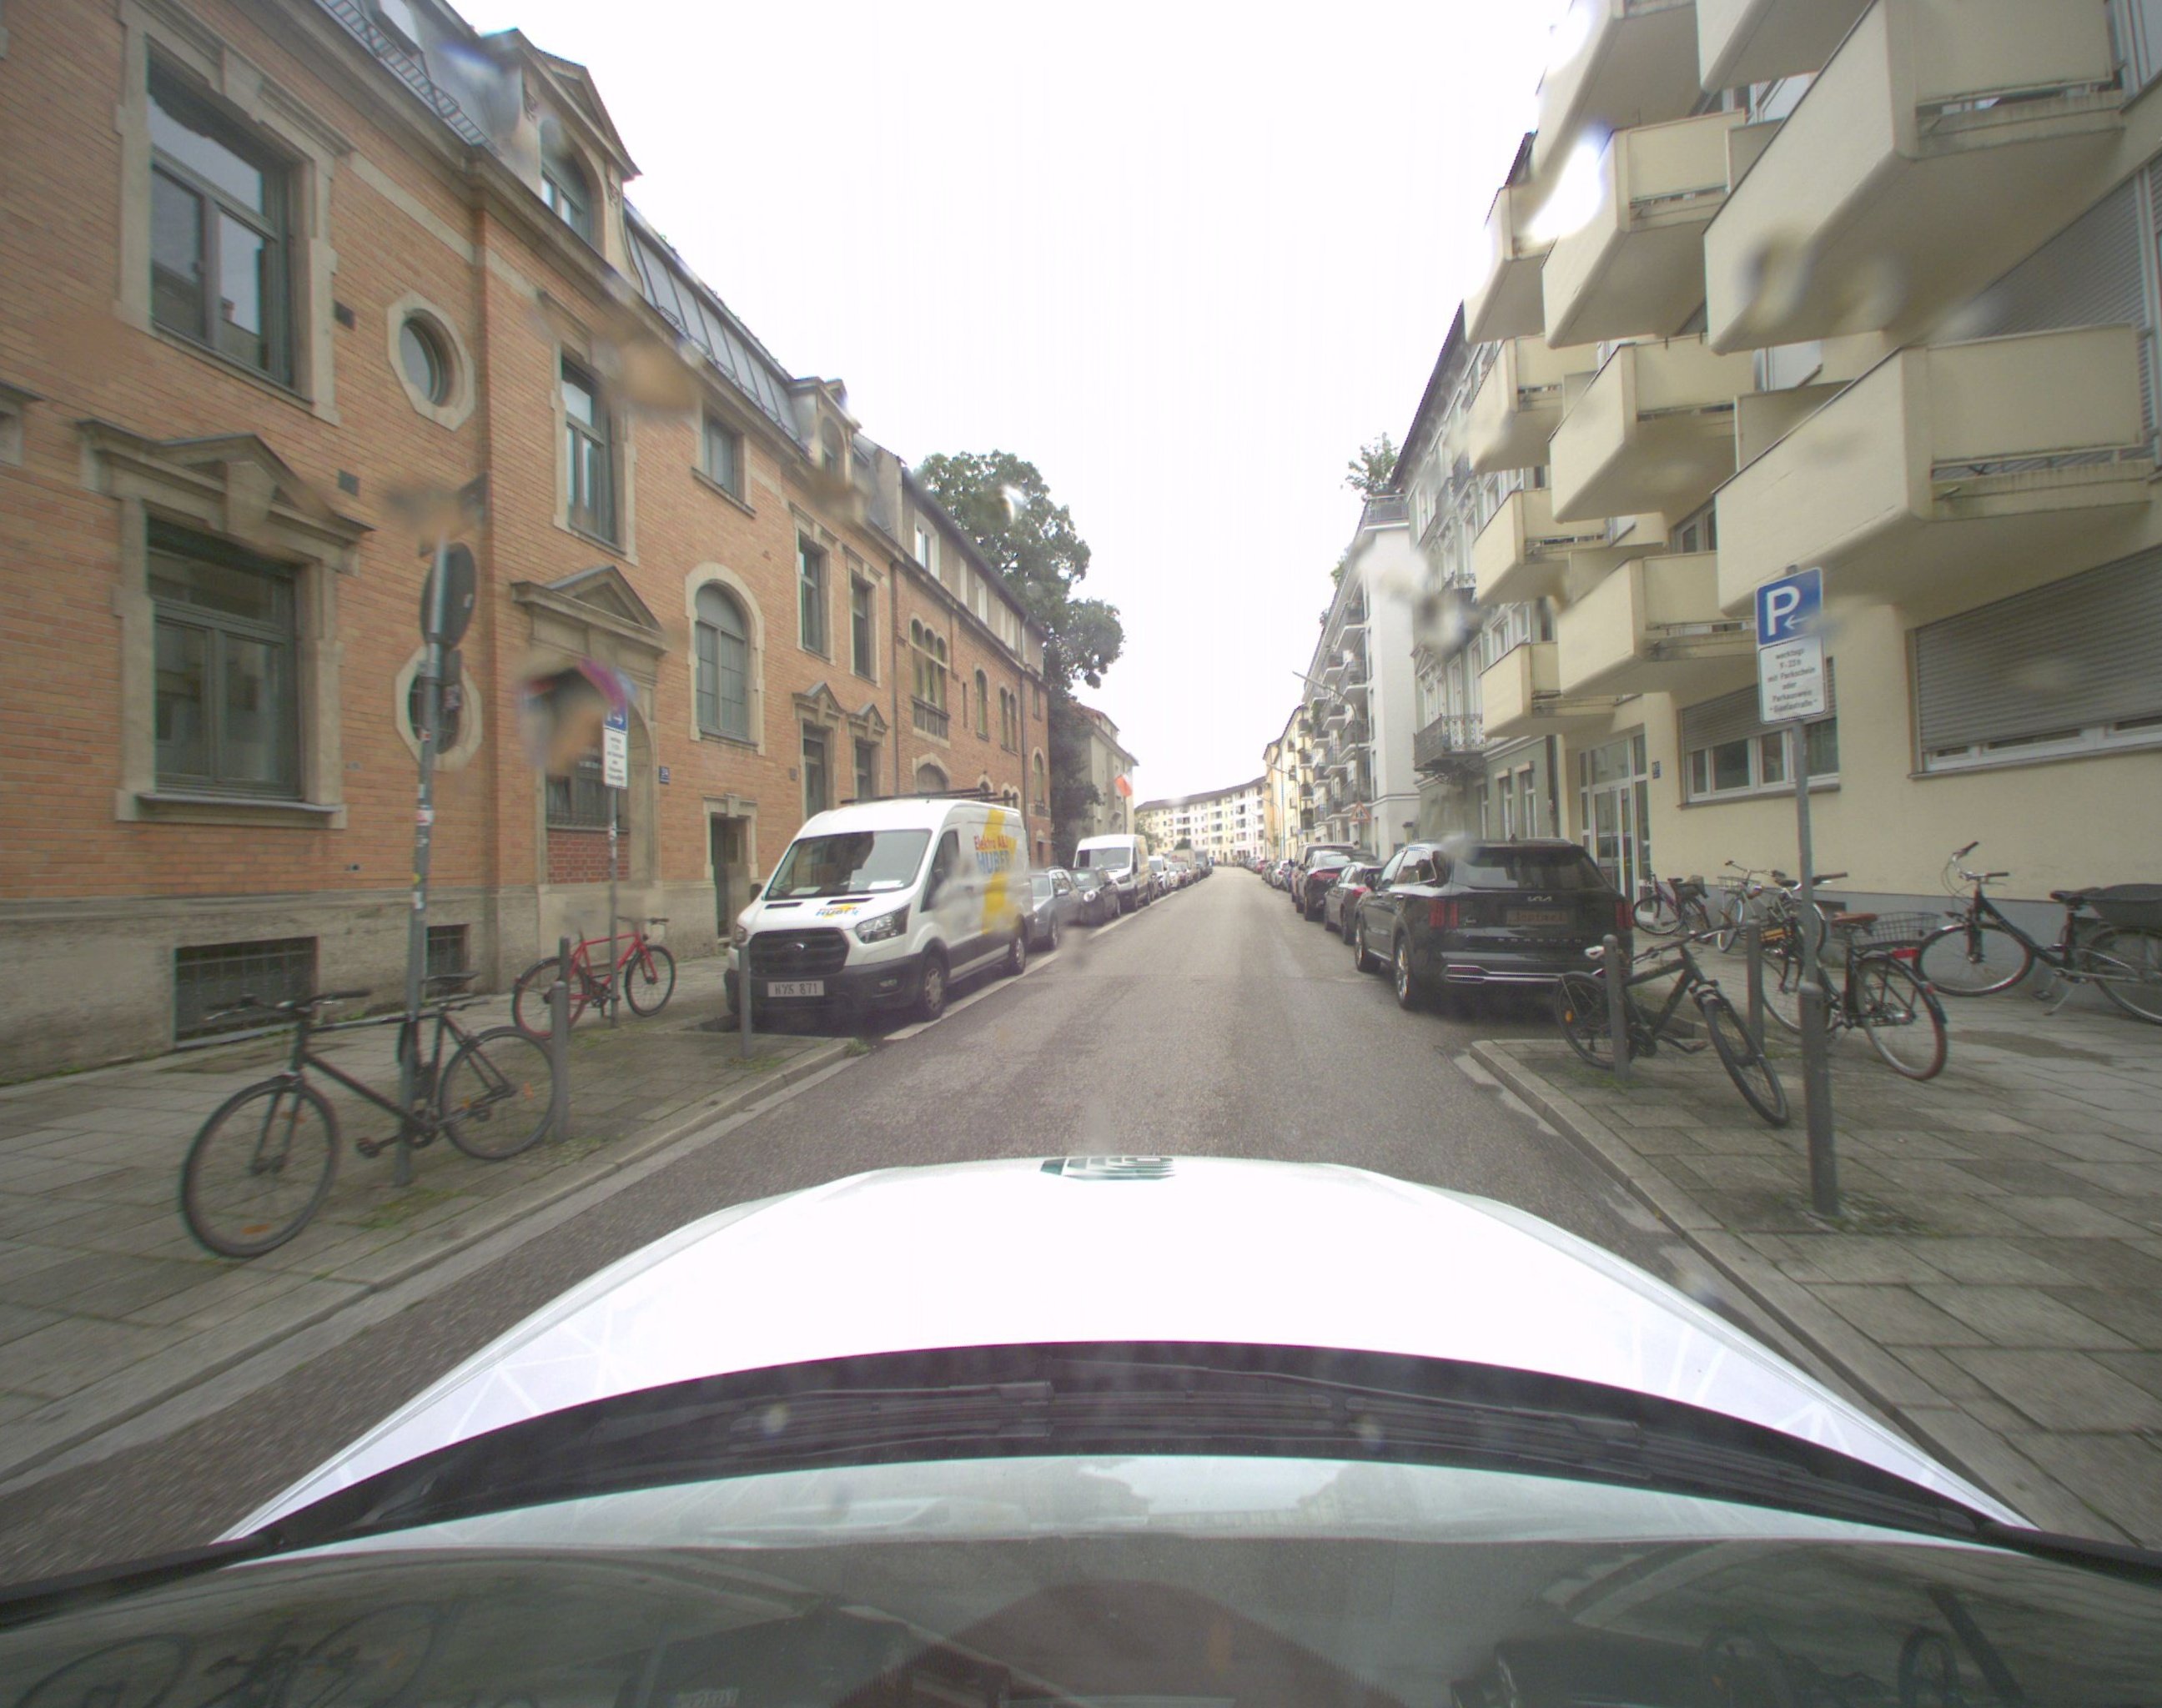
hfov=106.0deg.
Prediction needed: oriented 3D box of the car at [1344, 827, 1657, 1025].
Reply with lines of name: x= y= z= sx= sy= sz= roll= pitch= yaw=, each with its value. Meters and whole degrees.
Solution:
car: x=4.280 y=0.660 z=9.207 sx=1.838 sy=1.639 sz=4.563 roll=-2 pitch=-1 yaw=10

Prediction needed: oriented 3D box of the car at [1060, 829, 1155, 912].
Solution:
car: x=0.986 y=0.520 z=26.370 sx=2.123 sy=2.349 sz=5.386 roll=-2 pitch=-1 yaw=11

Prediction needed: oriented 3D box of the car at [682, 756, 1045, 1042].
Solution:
car: x=-2.133 y=0.465 z=10.053 sx=1.979 sy=2.468 sz=5.488 roll=-4 pitch=-2 yaw=11

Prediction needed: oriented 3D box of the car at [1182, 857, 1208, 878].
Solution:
car: x=10.433 y=1.256 z=74.408 sx=1.980 sy=1.762 sz=4.395 roll=-2 pitch=-1 yaw=12

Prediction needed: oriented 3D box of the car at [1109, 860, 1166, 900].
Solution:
car: x=2.309 y=1.002 z=32.329 sx=1.733 sy=1.445 sz=4.011 roll=-2 pitch=-1 yaw=10

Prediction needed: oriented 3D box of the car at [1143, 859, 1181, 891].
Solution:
car: x=4.356 y=1.095 z=43.338 sx=1.836 sy=1.540 sz=4.008 roll=-2 pitch=-1 yaw=7

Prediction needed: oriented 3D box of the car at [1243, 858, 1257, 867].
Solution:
car: x=26.820 y=1.316 z=129.244 sx=1.773 sy=1.385 sz=4.008 roll=-2 pitch=-1 yaw=7

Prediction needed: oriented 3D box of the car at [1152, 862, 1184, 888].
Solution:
car: x=5.199 y=1.217 z=48.084 sx=1.742 sy=1.368 sz=4.008 roll=-2 pitch=-1 yaw=7

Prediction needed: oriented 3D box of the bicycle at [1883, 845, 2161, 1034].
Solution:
bicycle: x=7.213 y=0.561 z=6.122 sx=0.684 sy=1.206 sz=1.765 roll=-2 pitch=-1 yaw=5

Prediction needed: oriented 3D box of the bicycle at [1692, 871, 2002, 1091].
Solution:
bicycle: x=4.858 y=0.710 z=5.374 sx=0.575 sy=1.154 sz=1.971 roll=-3 pitch=-1 yaw=15

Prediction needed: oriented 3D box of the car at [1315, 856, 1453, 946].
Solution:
car: x=5.589 y=0.791 z=15.556 sx=1.716 sy=1.459 sz=4.429 roll=-1 pitch=-1 yaw=10

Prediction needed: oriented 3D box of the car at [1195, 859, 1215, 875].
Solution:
car: x=14.089 y=1.479 z=92.205 sx=1.980 sy=1.762 sz=4.395 roll=-2 pitch=-1 yaw=12

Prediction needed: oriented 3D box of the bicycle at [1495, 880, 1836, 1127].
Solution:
bicycle: x=3.354 y=0.759 z=4.961 sx=0.578 sy=1.154 sz=1.961 roll=-2 pitch=-1 yaw=-2

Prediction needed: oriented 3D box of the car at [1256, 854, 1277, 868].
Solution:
car: x=19.535 y=0.712 z=85.885 sx=1.773 sy=1.385 sz=4.008 roll=-2 pitch=-1 yaw=7

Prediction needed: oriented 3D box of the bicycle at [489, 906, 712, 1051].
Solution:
bicycle: x=-4.306 y=1.059 z=7.495 sx=0.575 sy=1.054 sz=1.902 roll=-1 pitch=-1 yaw=15

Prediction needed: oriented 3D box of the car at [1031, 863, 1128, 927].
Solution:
car: x=0.060 y=1.004 z=21.163 sx=1.687 sy=1.431 sz=3.842 roll=-3 pitch=-1 yaw=12

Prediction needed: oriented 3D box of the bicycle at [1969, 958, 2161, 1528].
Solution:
bicycle: x=3.010 y=0.772 z=1.677 sx=1.758 sy=1.066 sz=0.773 roll=-2 pitch=-1 yaw=-12

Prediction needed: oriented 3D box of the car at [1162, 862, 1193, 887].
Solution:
car: x=6.400 y=1.327 z=53.606 sx=1.784 sy=1.469 sz=3.877 roll=-2 pitch=-1 yaw=9

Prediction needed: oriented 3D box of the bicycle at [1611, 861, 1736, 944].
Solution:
bicycle: x=8.250 y=0.643 z=11.434 sx=0.576 sy=1.054 sz=1.765 roll=-2 pitch=-1 yaw=6

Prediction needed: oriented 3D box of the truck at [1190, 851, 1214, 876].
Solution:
truck: x=12.070 y=0.915 z=80.828 sx=1.980 sy=2.319 sz=5.427 roll=-2 pitch=-1 yaw=12

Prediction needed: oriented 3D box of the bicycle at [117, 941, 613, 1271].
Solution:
bicycle: x=-3.239 y=1.036 z=3.951 sx=0.575 sy=1.054 sz=1.769 roll=-3 pitch=-1 yaw=15

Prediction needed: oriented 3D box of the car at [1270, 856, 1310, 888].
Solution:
car: x=10.369 y=0.893 z=40.615 sx=1.638 sy=1.434 sz=4.012 roll=-2 pitch=-1 yaw=11

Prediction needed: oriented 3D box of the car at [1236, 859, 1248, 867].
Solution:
car: x=28.986 y=1.587 z=146.566 sx=1.773 sy=1.385 sz=4.008 roll=-2 pitch=-1 yaw=7

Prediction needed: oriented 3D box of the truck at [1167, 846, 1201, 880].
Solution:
truck: x=7.686 y=0.662 z=60.153 sx=1.980 sy=2.319 sz=5.427 roll=-2 pitch=-1 yaw=12

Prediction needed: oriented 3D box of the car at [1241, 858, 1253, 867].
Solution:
car: x=28.557 y=1.473 z=140.198 sx=1.773 sy=1.385 sz=4.008 roll=-2 pitch=-1 yaw=7

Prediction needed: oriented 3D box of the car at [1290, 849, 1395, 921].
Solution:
car: x=6.470 y=0.740 z=20.666 sx=1.848 sy=1.551 sz=4.766 roll=-2 pitch=-1 yaw=10

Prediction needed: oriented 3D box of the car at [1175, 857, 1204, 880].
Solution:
car: x=9.069 y=1.177 z=67.940 sx=1.980 sy=1.762 sz=4.395 roll=-2 pitch=-1 yaw=12

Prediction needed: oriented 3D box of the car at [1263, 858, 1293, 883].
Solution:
car: x=12.603 y=1.047 z=52.360 sx=1.638 sy=1.434 sz=4.012 roll=-2 pitch=-1 yaw=11

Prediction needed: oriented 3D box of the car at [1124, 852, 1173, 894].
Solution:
car: x=3.094 y=0.849 z=36.673 sx=1.810 sy=1.711 sz=4.010 roll=-2 pitch=-1 yaw=9

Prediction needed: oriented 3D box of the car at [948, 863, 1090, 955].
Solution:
car: x=-1.057 y=0.974 z=15.959 sx=1.678 sy=1.454 sz=4.009 roll=-4 pitch=-1 yaw=11

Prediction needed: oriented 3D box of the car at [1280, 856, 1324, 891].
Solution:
car: x=9.766 y=0.858 z=36.186 sx=1.598 sy=1.434 sz=3.630 roll=-2 pitch=-1 yaw=11

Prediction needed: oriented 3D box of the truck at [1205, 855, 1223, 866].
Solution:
truck: x=28.685 y=1.442 z=175.599 sx=2.616 sy=2.300 sz=5.432 roll=-1 pitch=-1 yaw=-4

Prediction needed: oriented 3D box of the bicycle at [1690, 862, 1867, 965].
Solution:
bicycle: x=7.960 y=0.635 z=9.420 sx=0.576 sy=1.054 sz=1.840 roll=-2 pitch=-1 yaw=6

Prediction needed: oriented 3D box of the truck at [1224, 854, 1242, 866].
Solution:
truck: x=28.681 y=1.159 z=153.880 sx=2.221 sy=2.300 sz=5.284 roll=-2 pitch=-1 yaw=-3

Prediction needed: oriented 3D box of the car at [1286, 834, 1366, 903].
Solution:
car: x=7.795 y=0.462 z=26.348 sx=1.858 sy=1.968 sz=4.830 roll=-2 pitch=-1 yaw=10
